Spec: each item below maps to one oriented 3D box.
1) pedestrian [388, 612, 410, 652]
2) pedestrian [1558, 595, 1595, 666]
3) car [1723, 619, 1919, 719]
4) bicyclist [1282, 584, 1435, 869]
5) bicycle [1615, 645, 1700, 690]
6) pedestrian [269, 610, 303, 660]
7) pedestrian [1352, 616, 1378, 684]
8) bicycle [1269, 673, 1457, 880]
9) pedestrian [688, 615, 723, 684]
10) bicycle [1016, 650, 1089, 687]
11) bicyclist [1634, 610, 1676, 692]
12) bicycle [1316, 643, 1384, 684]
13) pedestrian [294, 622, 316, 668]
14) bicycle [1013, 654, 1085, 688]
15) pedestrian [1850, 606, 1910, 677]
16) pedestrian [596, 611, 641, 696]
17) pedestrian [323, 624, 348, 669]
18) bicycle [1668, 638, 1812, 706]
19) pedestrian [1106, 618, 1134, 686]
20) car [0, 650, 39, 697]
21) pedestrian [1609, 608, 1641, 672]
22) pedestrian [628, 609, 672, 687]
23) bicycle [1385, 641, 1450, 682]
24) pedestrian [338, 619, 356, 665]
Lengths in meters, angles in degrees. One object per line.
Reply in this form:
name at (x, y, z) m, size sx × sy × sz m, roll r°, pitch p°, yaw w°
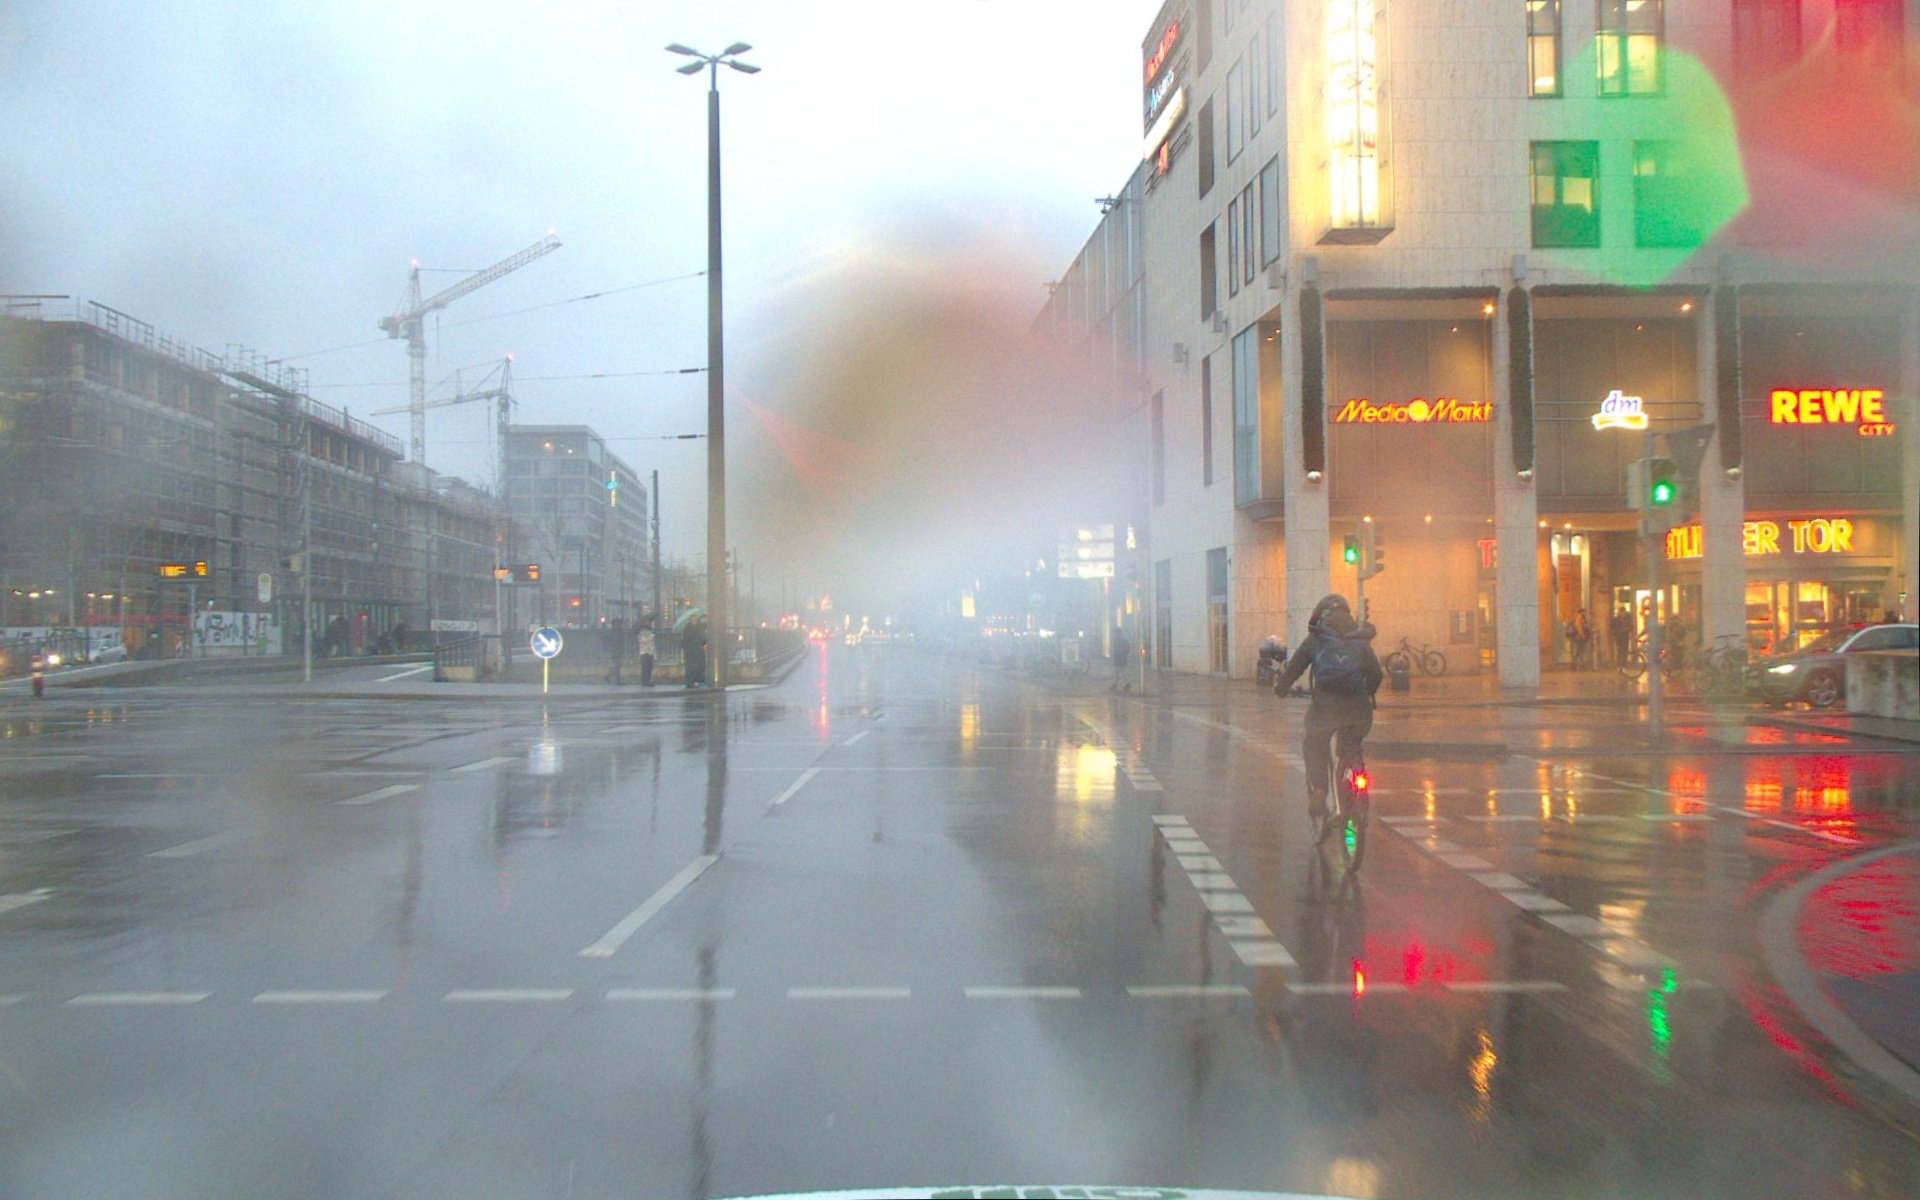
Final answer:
pedestrian at (-29.353, 1.664, 86.542) m, size 0.925 × 2.049 × 1.090 m, roll 1°, pitch -2°, yaw -12°
pedestrian at (18.082, 0.894, 48.508) m, size 0.828 × 2.049 × 0.698 m, roll -1°, pitch -1°, yaw 7°
car at (15.764, 1.200, 28.954) m, size 3.906 × 1.646 × 1.999 m, roll 1°, pitch -1°, yaw -1°
bicyclist at (2.473, 0.756, 10.355) m, size 0.688 × 1.689 × 0.964 m, roll -1°, pitch -1°, yaw -2°
bicycle at (17.625, 1.696, 41.850) m, size 1.920 × 1.105 × 0.927 m, roll -1°, pitch -1°, yaw 20°
pedestrian at (-28.001, 1.436, 68.704) m, size 0.922 × 2.049 × 1.094 m, roll 1°, pitch -2°, yaw 1°
pedestrian at (10.706, 1.318, 43.704) m, size 0.587 × 1.775 × 0.525 m, roll 1°, pitch -2°, yaw 6°
bicycle at (2.468, 1.047, 10.337) m, size 0.694 × 1.113 × 1.783 m, roll 0°, pitch -1°, yaw -2°
pedestrian at (-6.321, 1.225, 41.058) m, size 0.601 × 1.715 × 0.575 m, roll -1°, pitch -2°, yaw 40°
bicycle at (3.099, 2.292, 55.502) m, size 2.394 × 1.174 × 0.674 m, roll -1°, pitch -2°, yaw -3°
bicyclist at (17.587, 1.293, 41.865) m, size 0.903 × 2.049 × 0.907 m, roll -1°, pitch -1°, yaw 21°
bicycle at (10.547, 1.709, 44.728) m, size 1.735 × 1.089 × 0.523 m, roll 1°, pitch -2°, yaw -10°
pedestrian at (-27.713, 1.906, 69.993) m, size 0.684 × 1.914 × 0.553 m, roll 1°, pitch -2°, yaw -2°
bicycle at (3.015, 2.408, 56.251) m, size 2.377 × 1.118 × 0.711 m, roll -1°, pitch -2°, yaw -4°
pedestrian at (22.516, 1.016, 40.500) m, size 1.009 × 1.713 × 0.823 m, roll 1°, pitch -2°, yaw -2°
pedestrian at (-8.437, 1.315, 40.859) m, size 0.771 × 2.049 × 0.724 m, roll -1°, pitch -2°, yaw 40°
pedestrian at (-27.278, 2.037, 72.262) m, size 0.750 × 1.931 × 0.762 m, roll 1°, pitch -3°, yaw -2°
bicycle at (16.654, 1.535, 35.344) m, size 2.660 × 1.383 × 0.956 m, roll -1°, pitch -2°, yaw -5°
pedestrian at (4.156, 1.334, 42.903) m, size 0.624 × 1.739 × 0.573 m, roll -1°, pitch -1°, yaw -3°
car at (-38.549, 2.897, 65.282) m, size 1.952 × 1.822 × 4.001 m, roll 1°, pitch -1°, yaw 3°
pedestrian at (18.269, 1.100, 45.451) m, size 0.721 × 1.748 × 0.738 m, roll -2°, pitch -2°, yaw 26°
pedestrian at (-7.507, 1.157, 40.065) m, size 0.813 × 1.864 × 0.777 m, roll 2°, pitch -2°, yaw -32°
bicycle at (12.423, 1.670, 44.916) m, size 1.614 × 1.089 × 0.524 m, roll 1°, pitch -2°, yaw -5°
pedestrian at (-27.297, 1.866, 73.665) m, size 0.559 × 2.003 × 0.664 m, roll 2°, pitch -2°, yaw -7°
